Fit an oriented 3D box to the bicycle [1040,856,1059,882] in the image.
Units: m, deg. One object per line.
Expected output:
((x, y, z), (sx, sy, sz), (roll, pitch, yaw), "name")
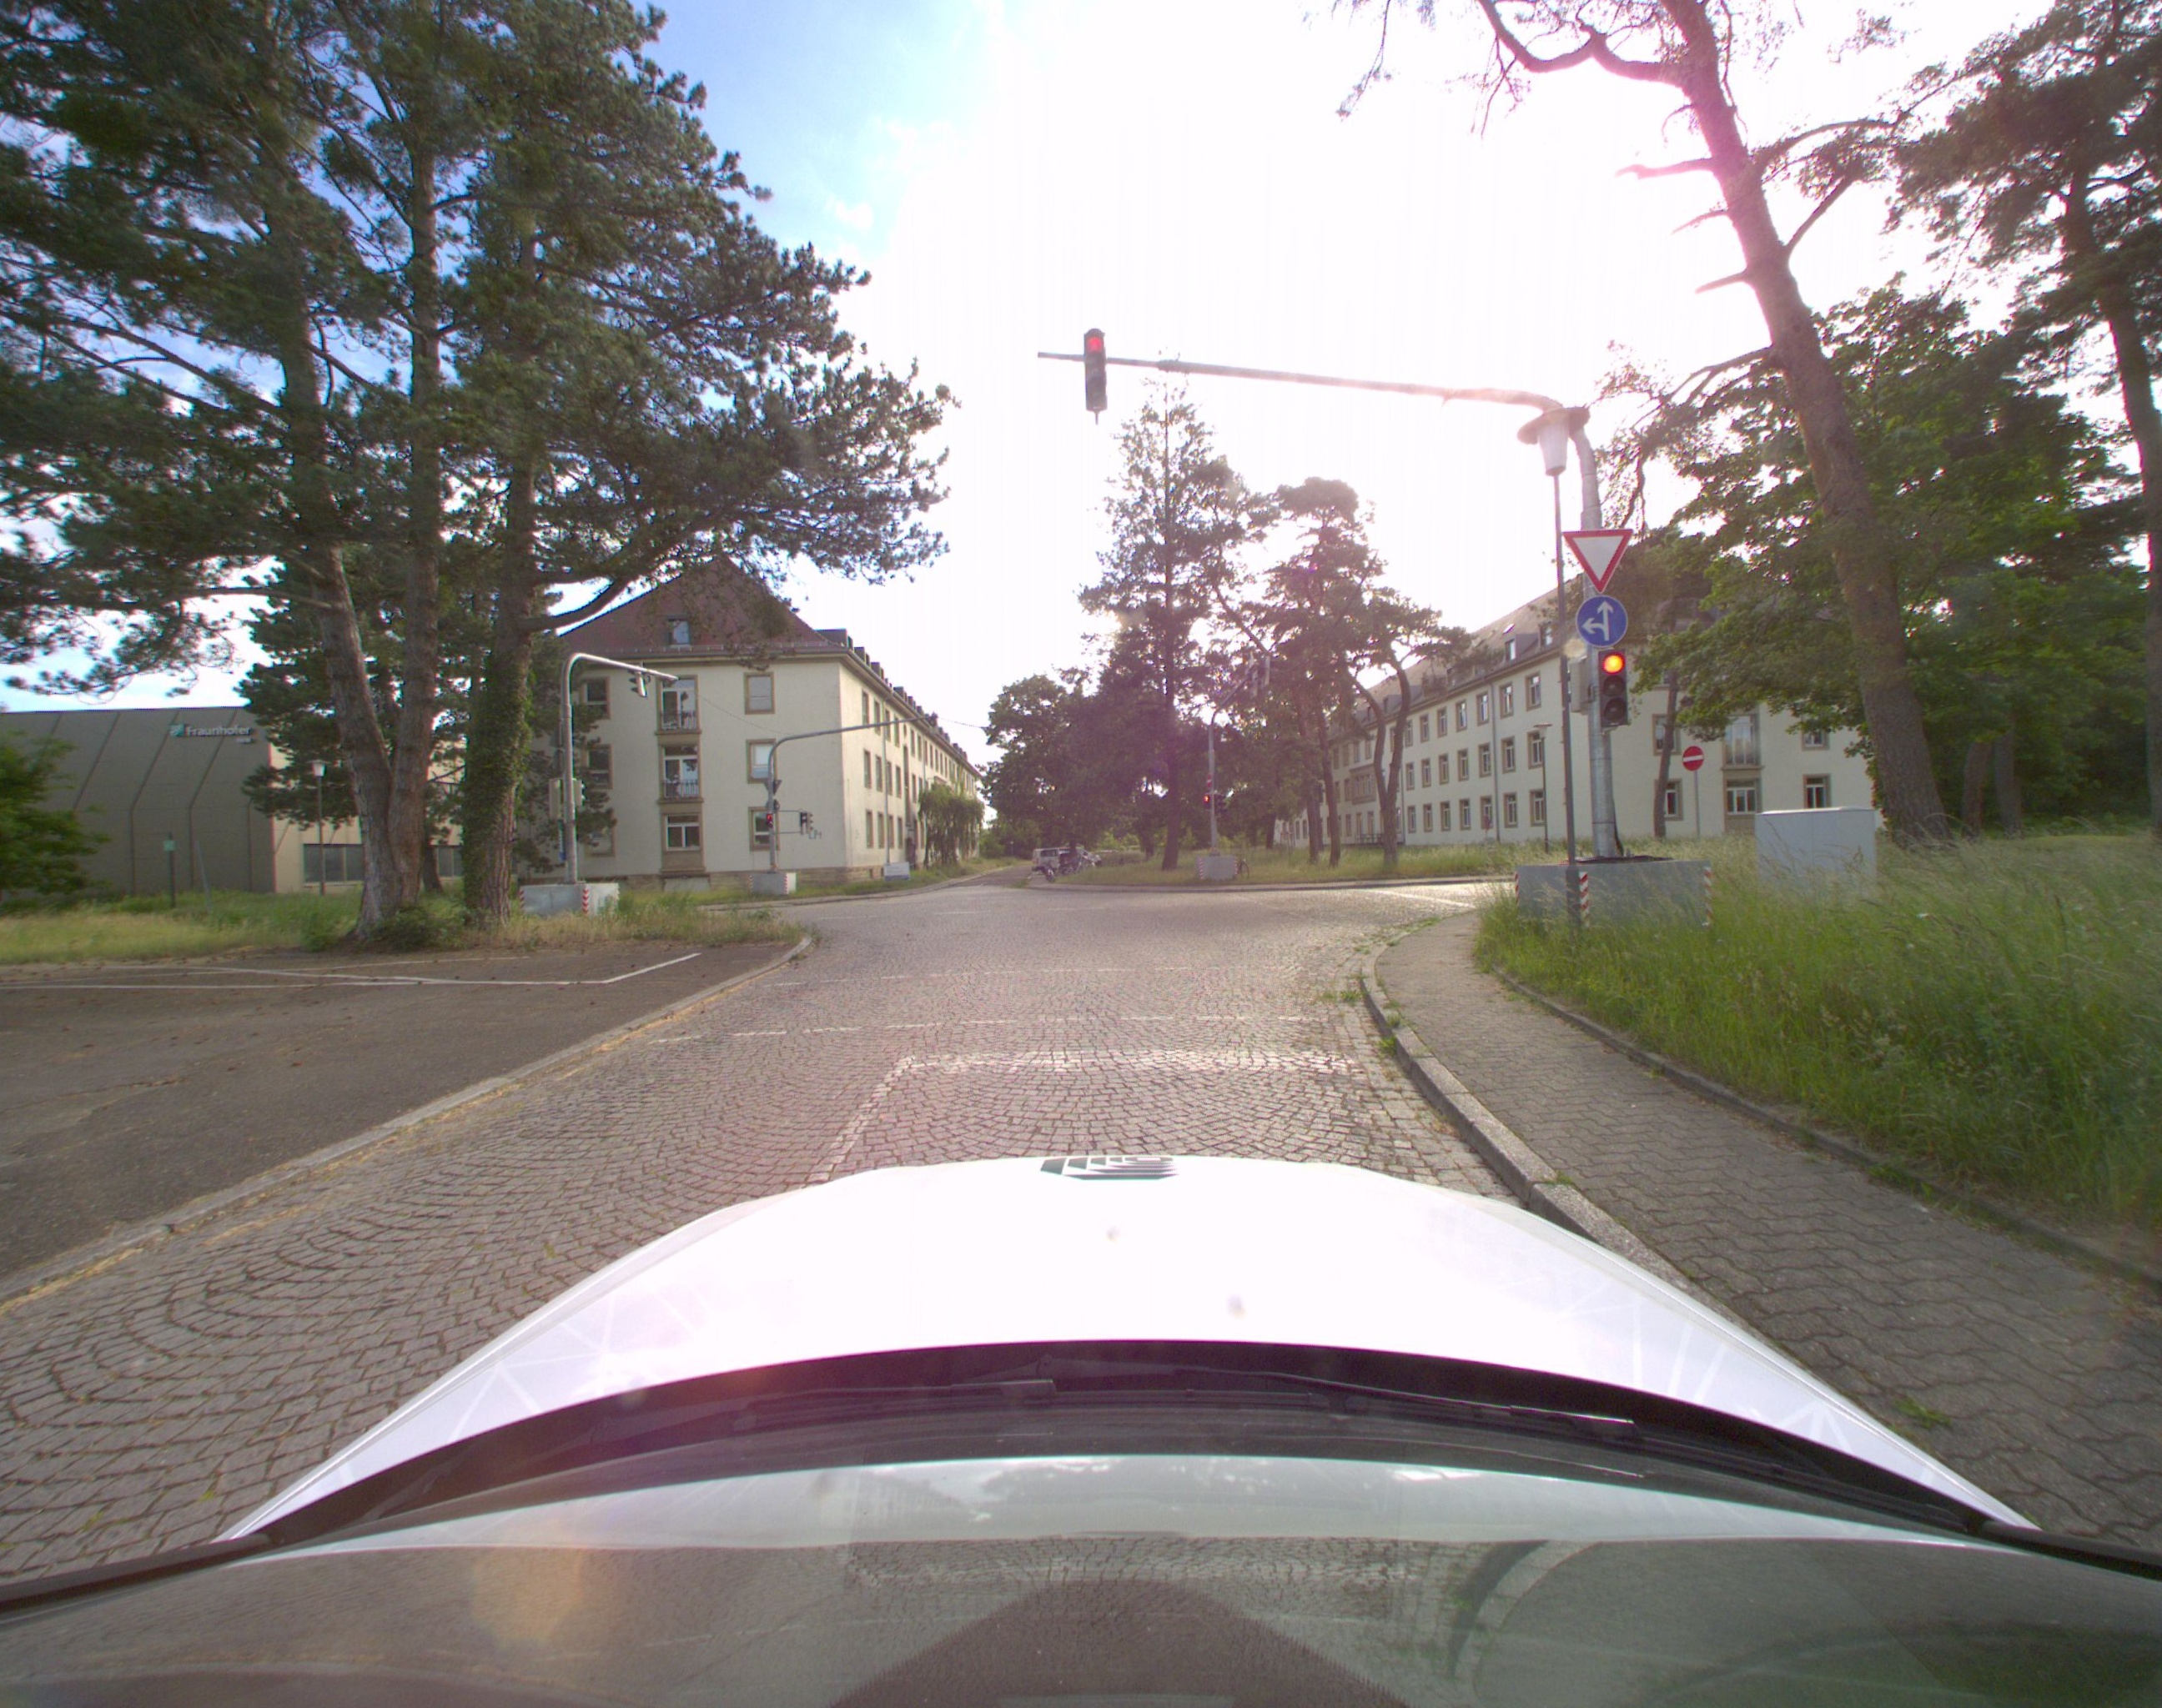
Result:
((-1.522, 0.714, 39.563), (0.723, 1.107, 2.462), (-7, 0, 0), "bicycle")

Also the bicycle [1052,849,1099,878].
((-0.311, 0.538, 48.644), (2.764, 1.694, 1.121), (0, 0, 2), "bicycle")

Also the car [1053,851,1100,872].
((-0.352, 0.529, 58.276), (3.135, 1.354, 1.616), (-2, 0, -8), "car")

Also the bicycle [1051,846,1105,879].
((-0.181, 0.445, 45.083), (2.775, 1.694, 1.117), (-2, 0, -9), "bicycle")

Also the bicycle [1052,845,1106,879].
((-0.130, 0.419, 43.891), (2.773, 1.694, 1.117), (-2, 0, -7), "bicycle")

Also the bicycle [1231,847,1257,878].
((6.460, 0.313, 32.316), (0.720, 1.169, 2.741), (0, 0, 5), "bicycle")

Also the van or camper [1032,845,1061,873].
((-2.644, 0.379, 62.260), (1.989, 1.948, 6.046), (-2, 0, -3), "van or camper")

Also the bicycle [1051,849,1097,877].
((-0.425, 0.525, 49.978), (2.767, 1.694, 1.120), (0, 0, -1), "bicycle")
